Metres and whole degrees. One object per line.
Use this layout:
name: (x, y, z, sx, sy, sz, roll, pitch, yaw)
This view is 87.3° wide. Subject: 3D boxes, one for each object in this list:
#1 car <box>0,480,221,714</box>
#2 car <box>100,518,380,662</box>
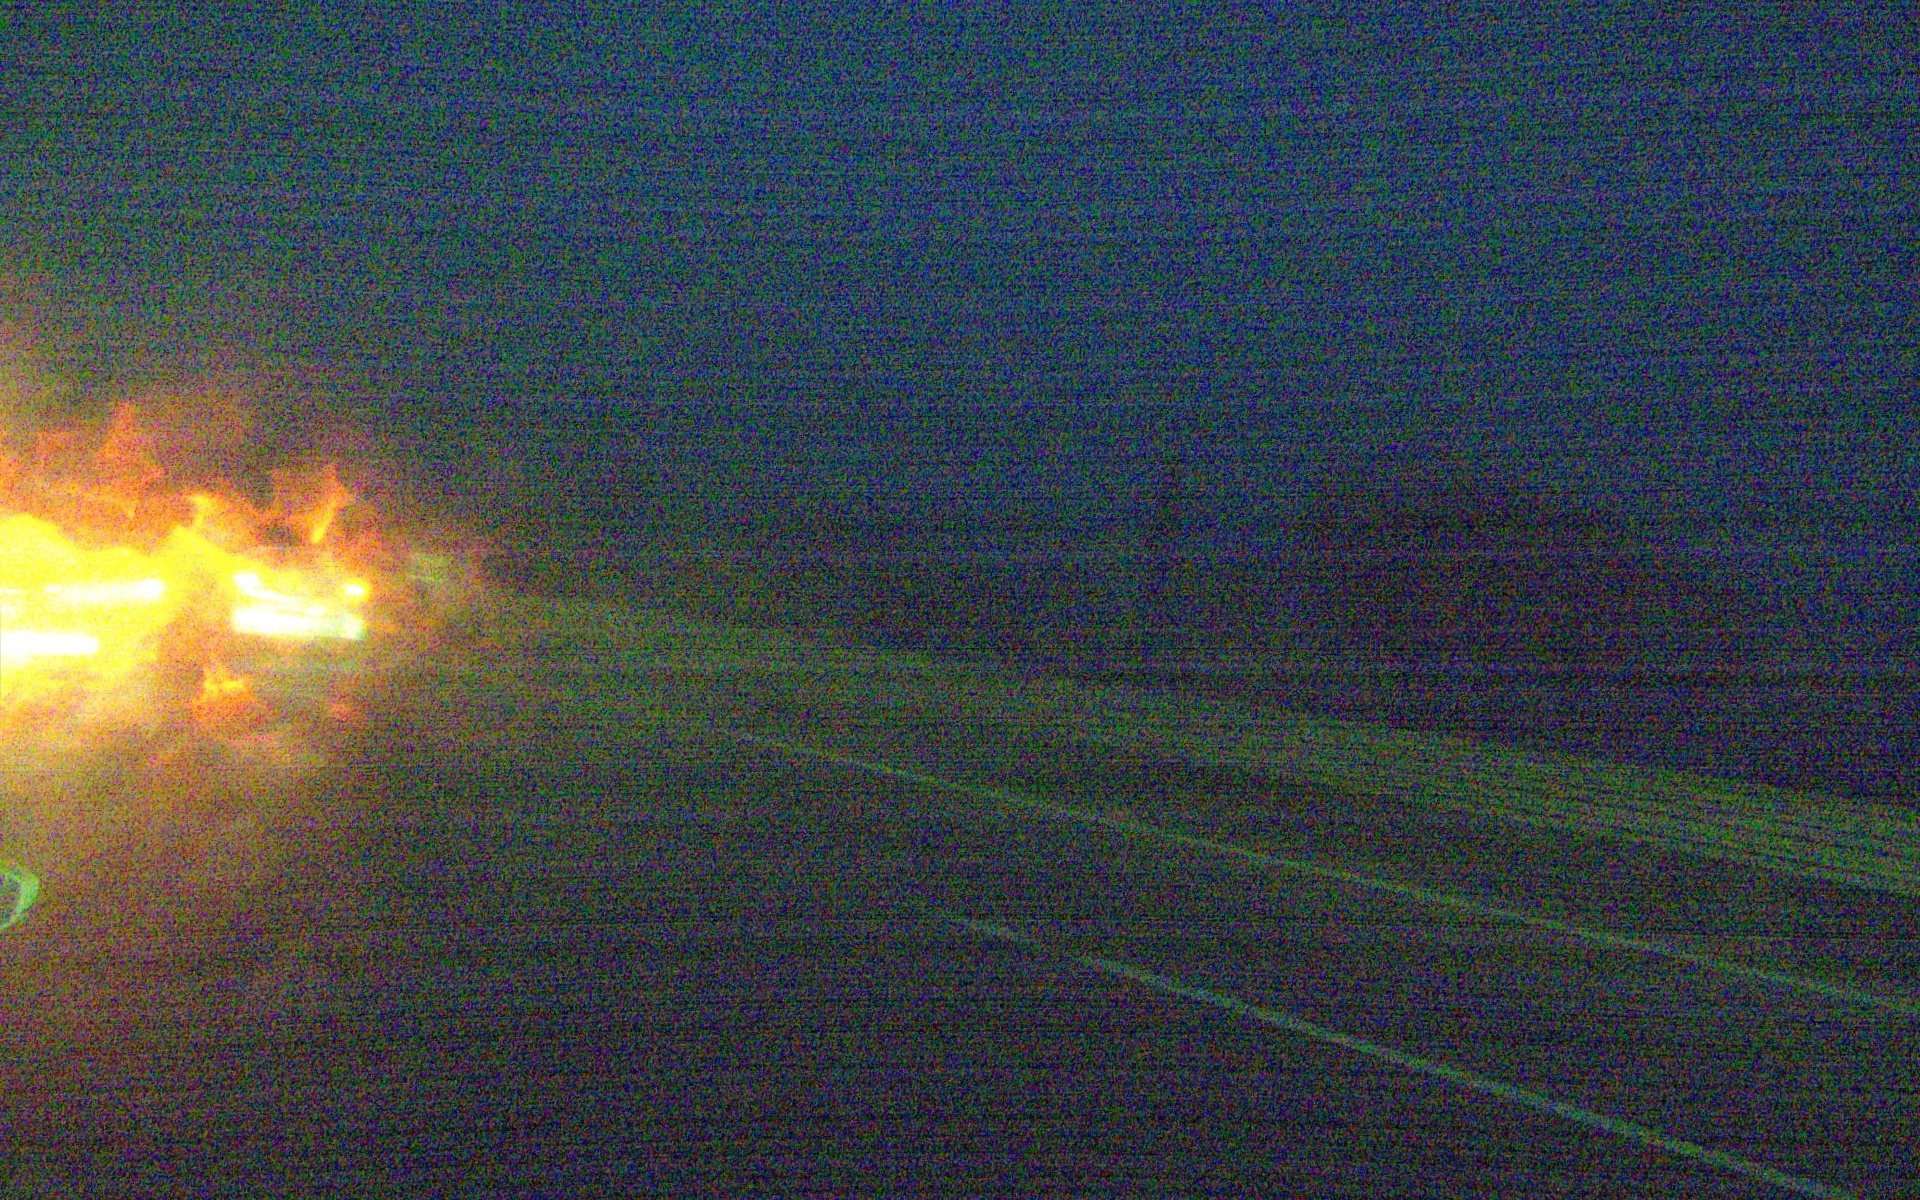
car: (-8.248, -0.161, 8.357, 4.419, 1.594, 1.743, 5, -1, 31)
car: (-10.140, -0.158, 14.101, 3.946, 1.521, 1.642, 7, 0, 31)
